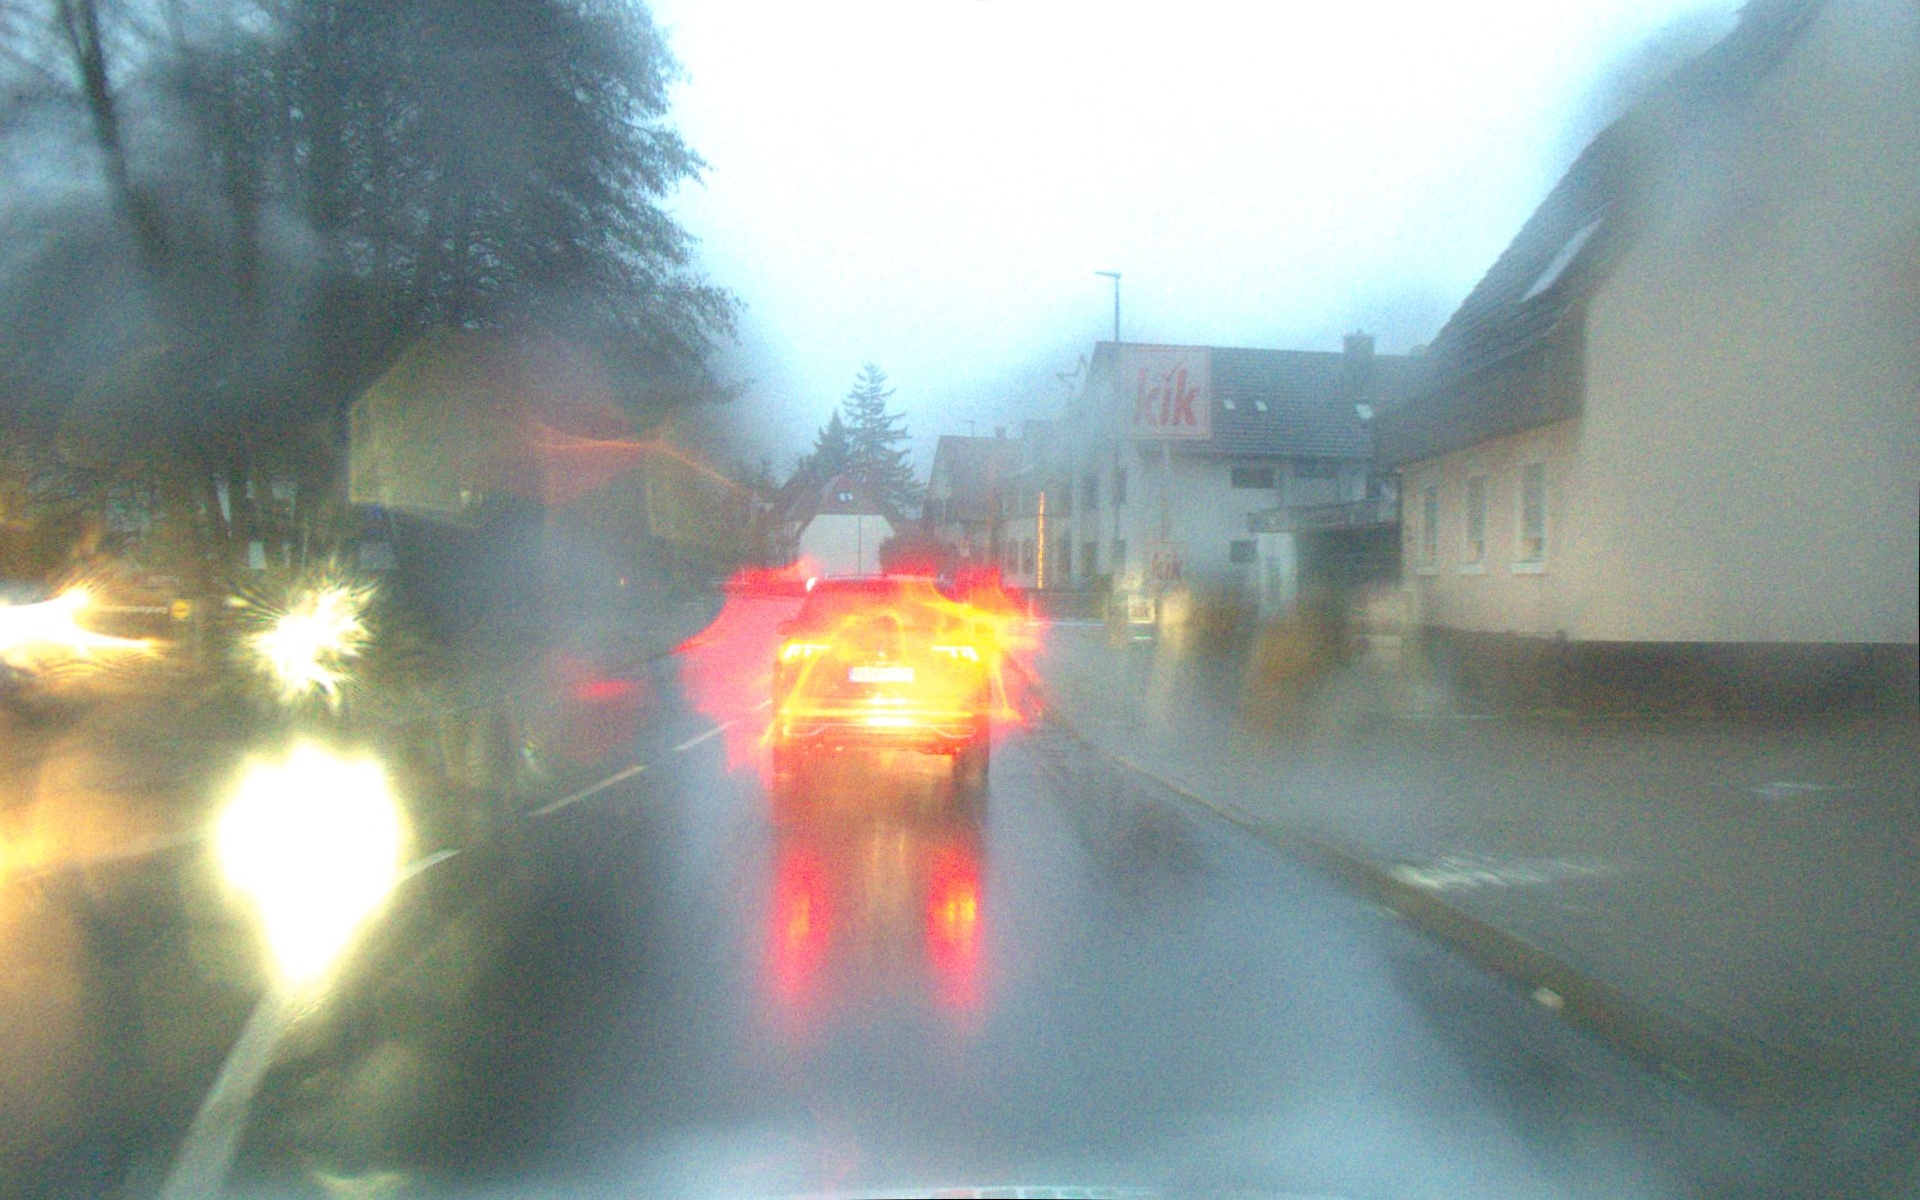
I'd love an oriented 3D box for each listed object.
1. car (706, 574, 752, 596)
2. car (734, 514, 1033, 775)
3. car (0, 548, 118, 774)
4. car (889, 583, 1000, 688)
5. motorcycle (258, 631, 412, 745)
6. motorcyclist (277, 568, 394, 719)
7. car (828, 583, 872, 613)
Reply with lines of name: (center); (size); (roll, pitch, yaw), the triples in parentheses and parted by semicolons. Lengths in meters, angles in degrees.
car: (-22.061, -1.435, 157.952); (4.175, 2.049, 1.804); (0, 1, -15)
car: (-0.678, 0.332, 15.064); (2.263, 1.972, 5.015); (0, 0, -3)
car: (-9.458, 0.351, 13.447); (4.141, 1.728, 1.899); (3, 0, -2)
car: (-0.329, 0.574, 29.654); (1.820, 1.676, 3.999); (1, 1, -2)
motorcycle: (-6.493, 0.886, 17.313); (0.848, 1.041, 2.109); (1, 0, -2)
motorcyclist: (-6.473, 0.437, 17.184); (0.848, 1.511, 0.908); (1, 0, -2)
car: (-5.234, -0.125, 78.516); (1.807, 1.355, 3.931); (0, 1, -8)
